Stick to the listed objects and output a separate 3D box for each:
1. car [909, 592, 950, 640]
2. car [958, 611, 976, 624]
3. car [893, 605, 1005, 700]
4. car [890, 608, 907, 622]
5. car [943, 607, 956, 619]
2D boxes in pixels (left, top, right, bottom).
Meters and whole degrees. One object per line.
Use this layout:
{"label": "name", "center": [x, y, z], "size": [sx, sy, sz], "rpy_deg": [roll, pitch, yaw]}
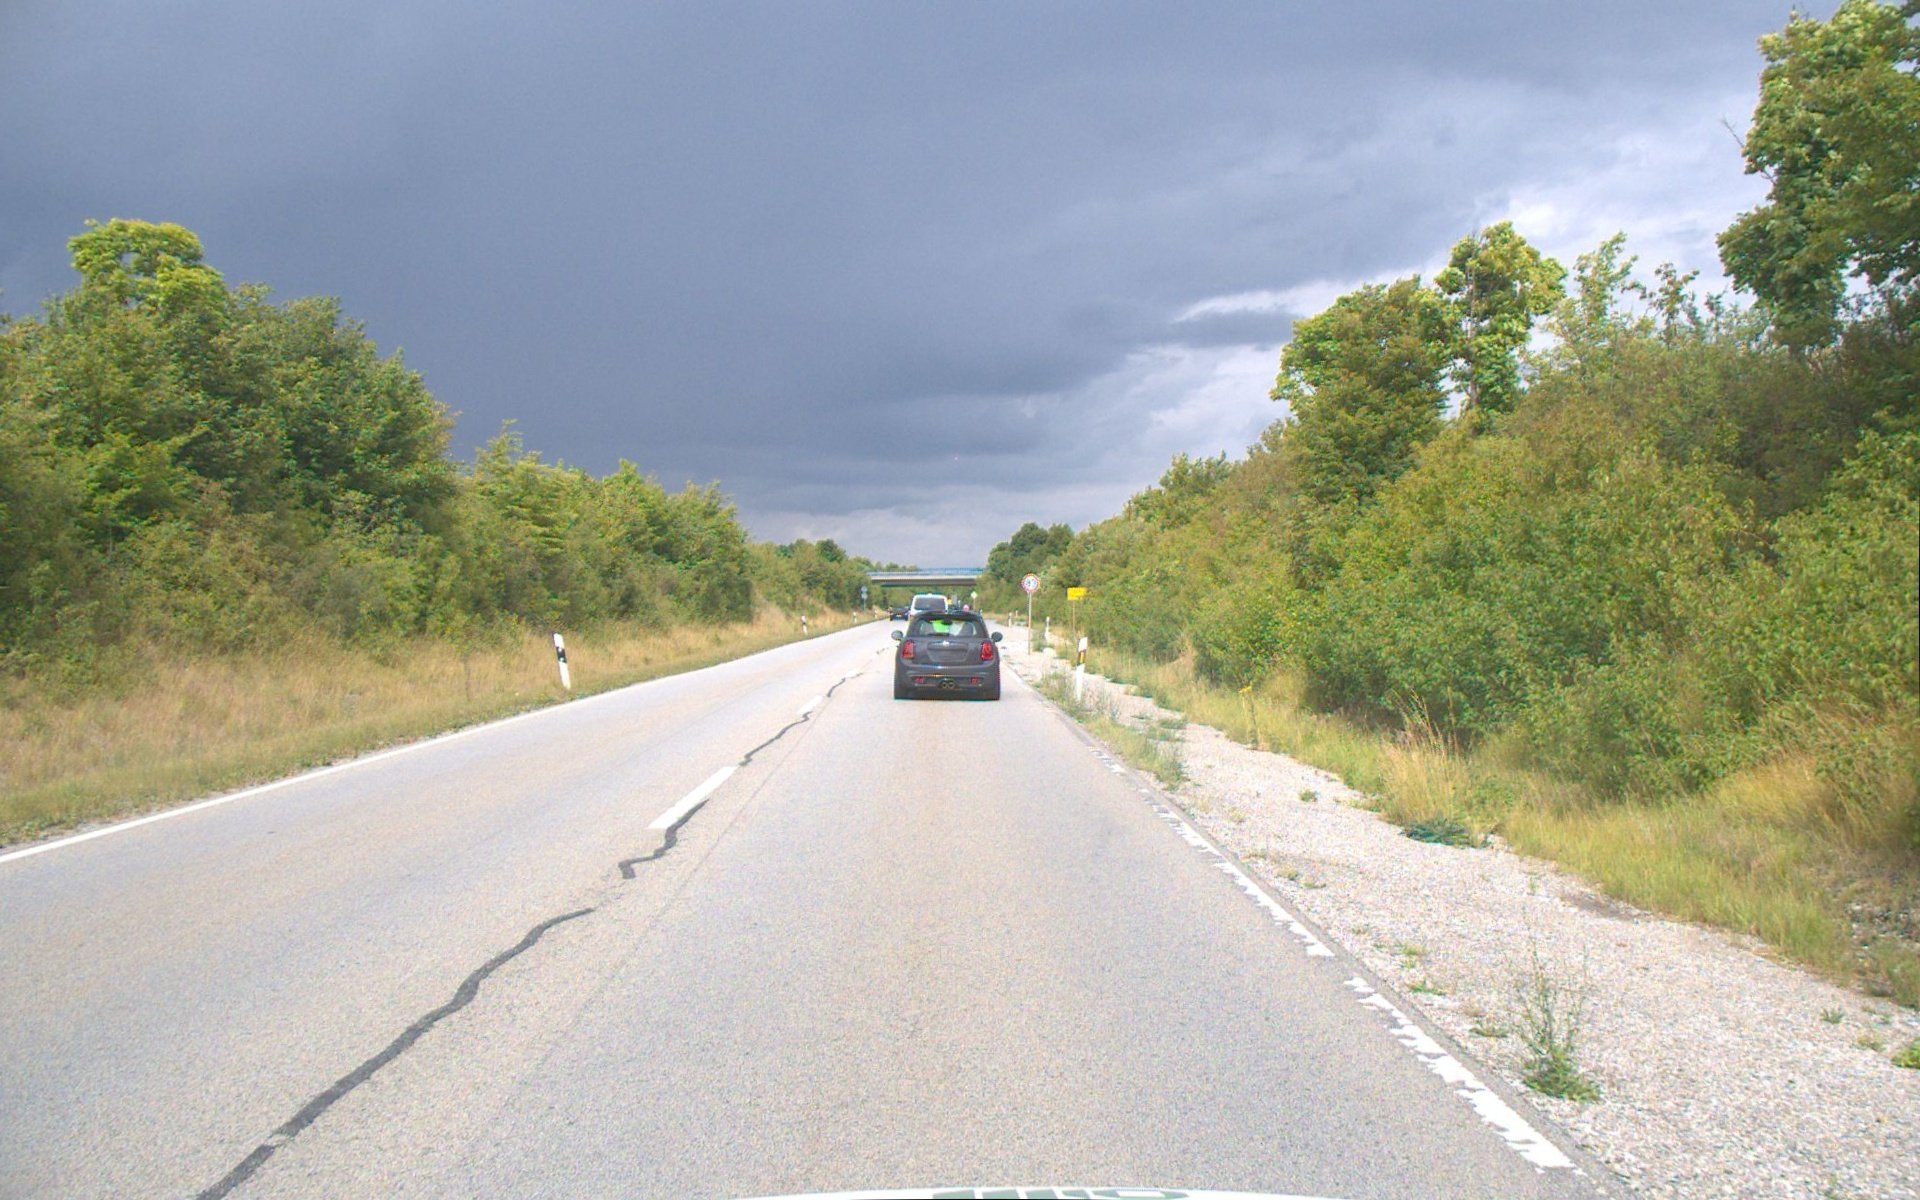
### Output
{"label": "car", "center": [-1.376, 0.713, 74.486], "size": [1.782, 2.090, 3.999], "rpy_deg": [1, 0, -1]}
{"label": "car", "center": [0.819, 2.126, 199.972], "size": [1.954, 1.579, 3.997], "rpy_deg": [1, 0, -3]}
{"label": "car", "center": [-0.208, 0.834, 27.819], "size": [1.721, 1.452, 3.999], "rpy_deg": [1, 0, -1]}
{"label": "car", "center": [-6.075, 1.472, 163.632], "size": [1.666, 1.353, 3.999], "rpy_deg": [-1, 0, -1]}
{"label": "car", "center": [-1.456, 1.792, 229.599], "size": [1.745, 1.736, 3.998], "rpy_deg": [1, 0, -3]}
